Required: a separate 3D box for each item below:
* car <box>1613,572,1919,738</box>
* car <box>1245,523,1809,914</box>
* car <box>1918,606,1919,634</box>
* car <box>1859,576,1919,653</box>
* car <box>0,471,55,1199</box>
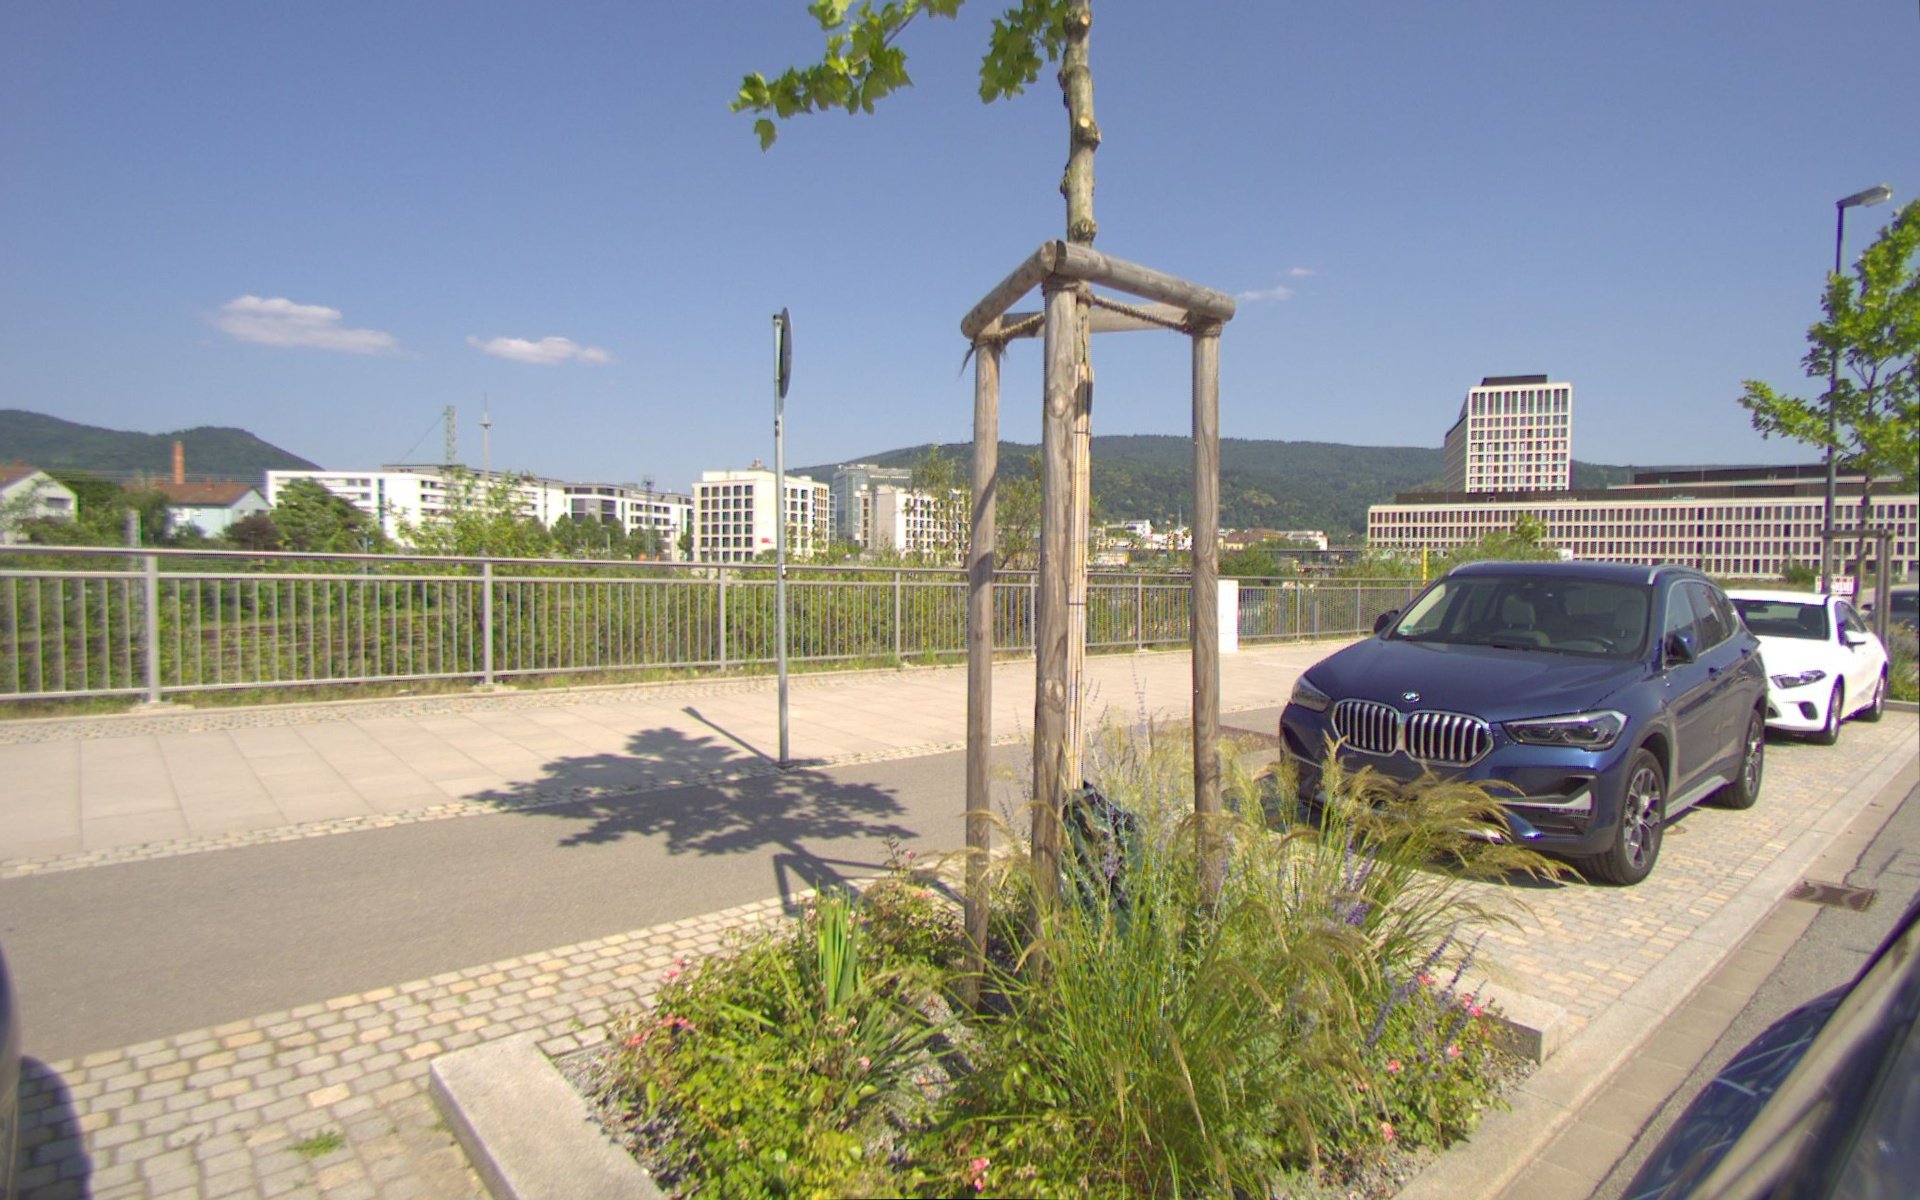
[{"bbox_3d":[8.896,0.443,11.041,4.194,1.390,1.711,-1,5,-39],"label":"car"},{"bbox_3d":[3.804,0.429,6.459,4.197,1.703,1.807,-1,4,-41],"label":"car"},{"bbox_3d":[27.517,0.187,27.692,2.955,1.491,1.569,-1,5,-41],"label":"car"},{"bbox_3d":[20.206,0.284,20.988,3.849,1.449,1.808,-1,5,-41],"label":"car"},{"bbox_3d":[-2.823,0.599,0.512,3.485,1.574,1.585,0,4,-41],"label":"car"}]
